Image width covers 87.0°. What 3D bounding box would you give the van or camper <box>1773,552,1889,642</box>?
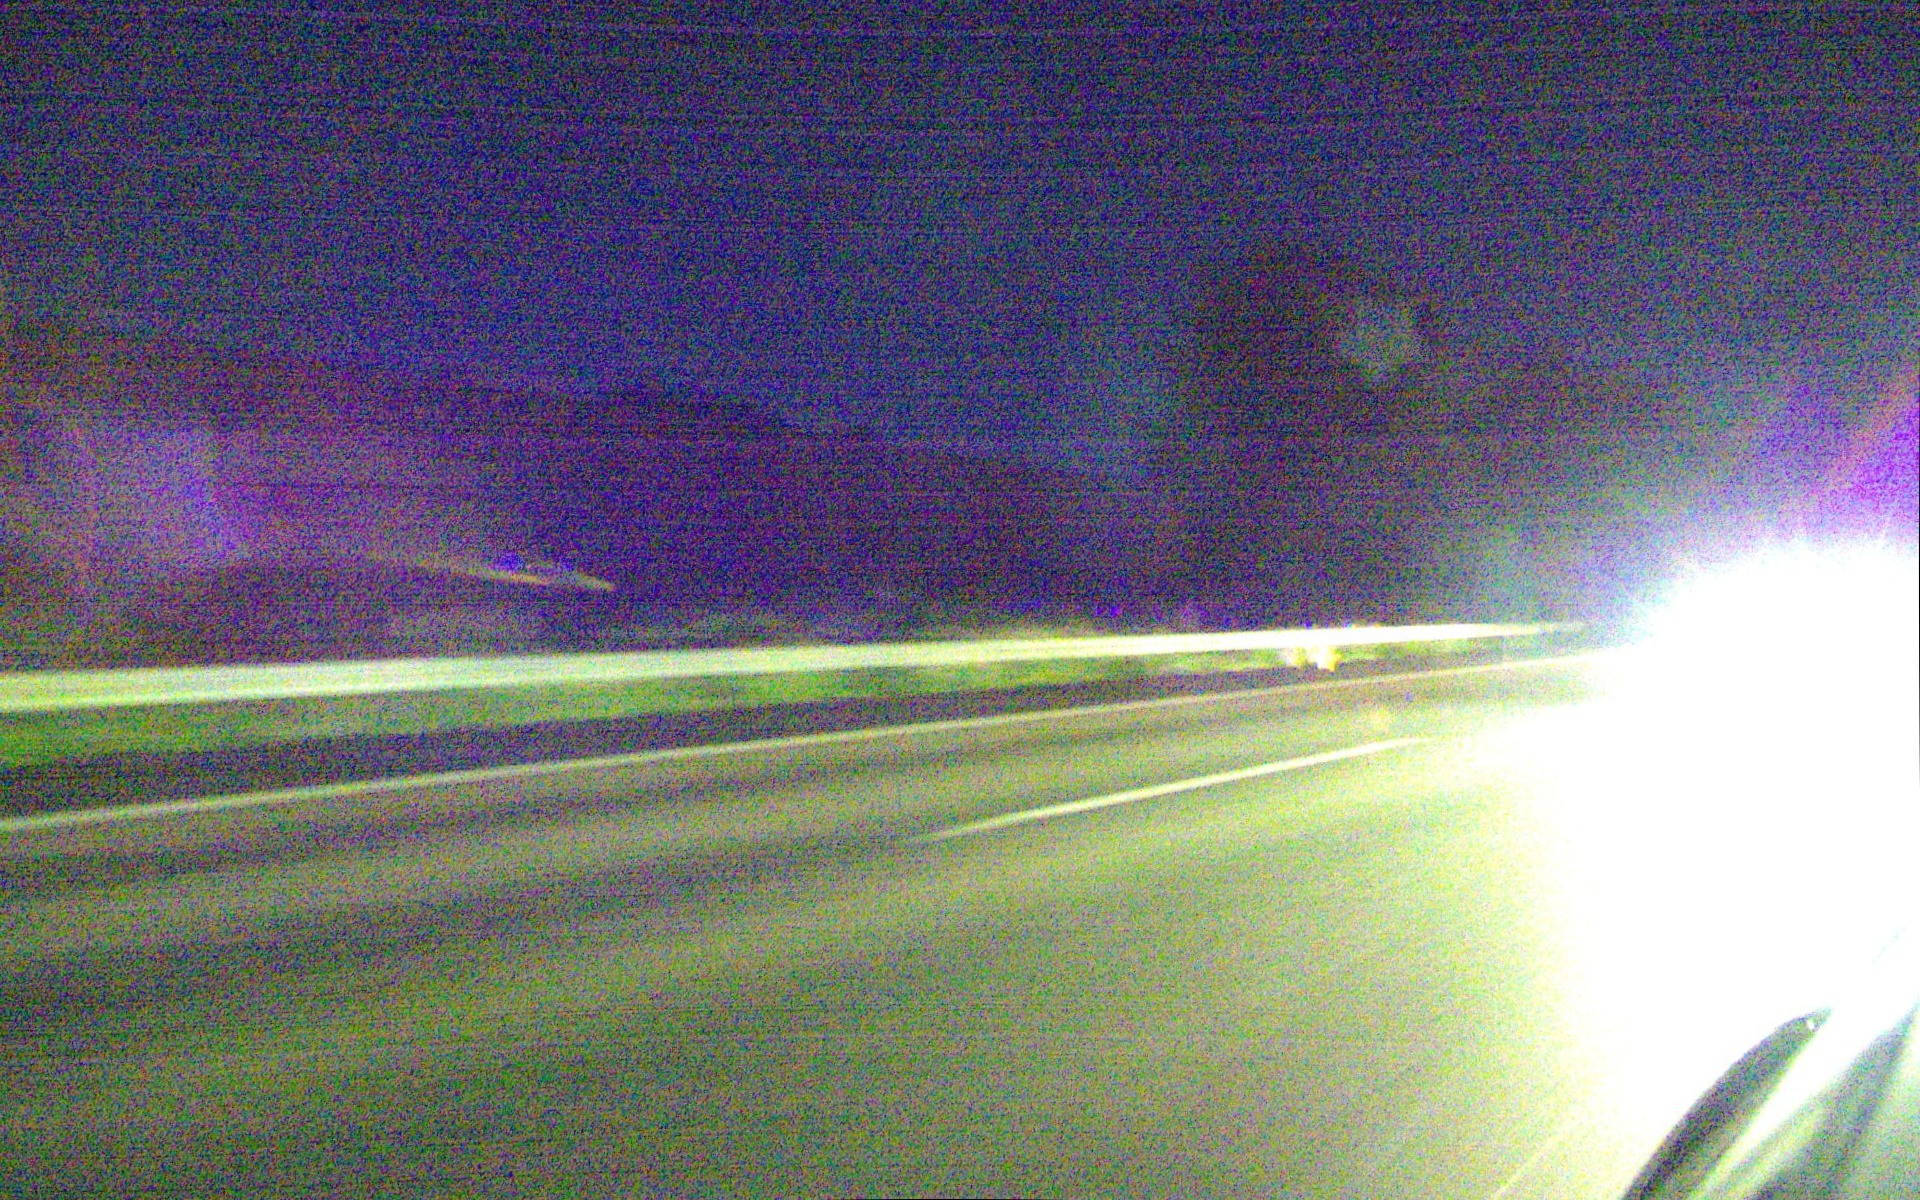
[{"bbox_3d":[30.012,-0.100,34.763,6.687,2.807,2.210,0,0,-42],"label":"van or camper"}]

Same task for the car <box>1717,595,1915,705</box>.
[{"bbox_3d":[13.120,0.686,15.430,4.151,1.431,1.689,1,0,-41],"label":"car"}]
